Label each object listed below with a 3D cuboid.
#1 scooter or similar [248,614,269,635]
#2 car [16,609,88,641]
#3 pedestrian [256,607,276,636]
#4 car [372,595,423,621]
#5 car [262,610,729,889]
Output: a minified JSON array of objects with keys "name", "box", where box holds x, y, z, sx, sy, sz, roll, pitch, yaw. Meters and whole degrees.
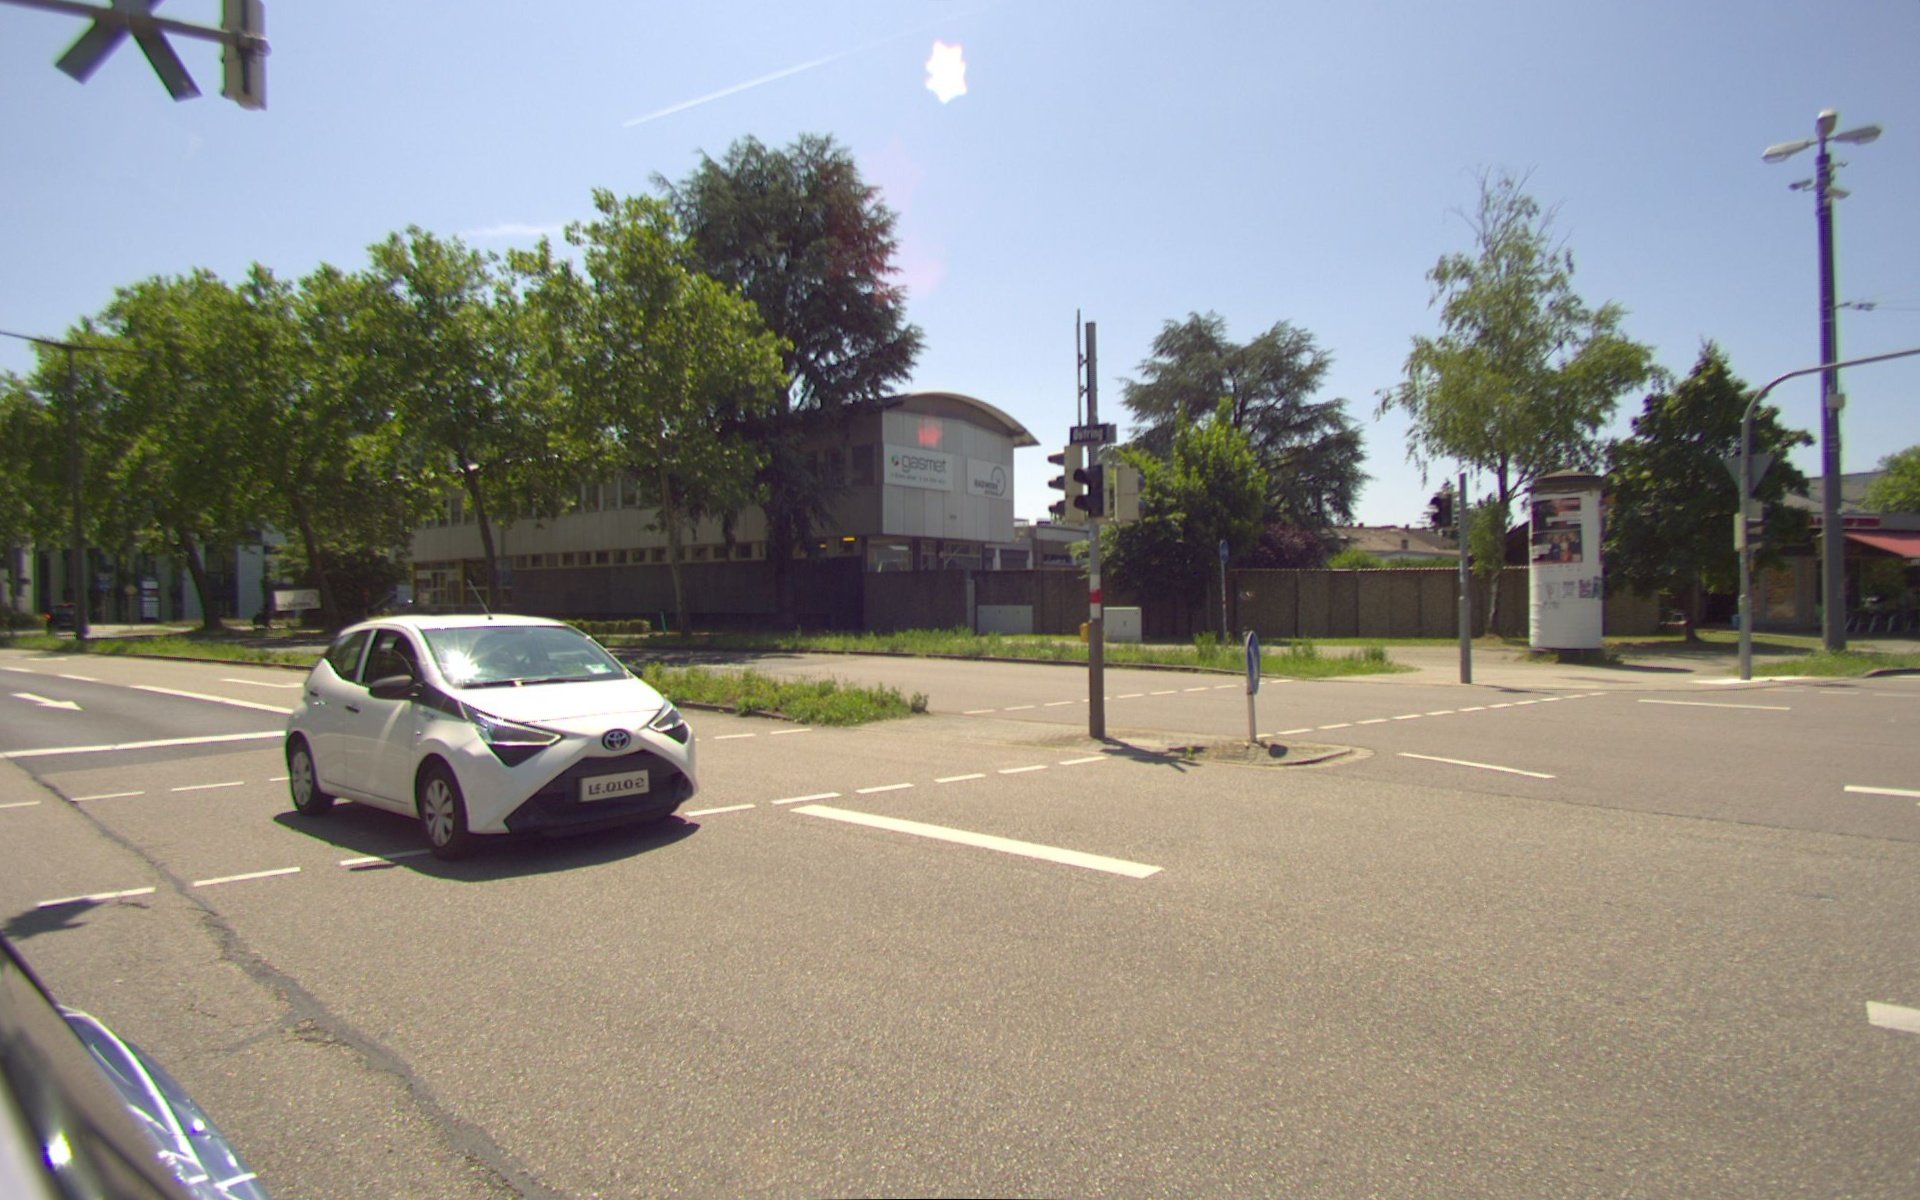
[{"name":"scooter or similar","box":[-39.097,1.361,56.387,0.856,1.172,0.673,-1,0,30]},{"name":"car","box":[-51.338,1.387,57.191,4.429,1.692,1.897,-1,0,32]},{"name":"pedestrian","box":[-38.381,1.200,55.962,0.788,1.572,0.637,-1,0,29]},{"name":"car","box":[-38.768,0.537,69.743,3.523,1.659,1.798,0,2,39]},{"name":"car","box":[-3.416,0.818,7.161,3.649,1.456,1.602,-1,0,40]}]
